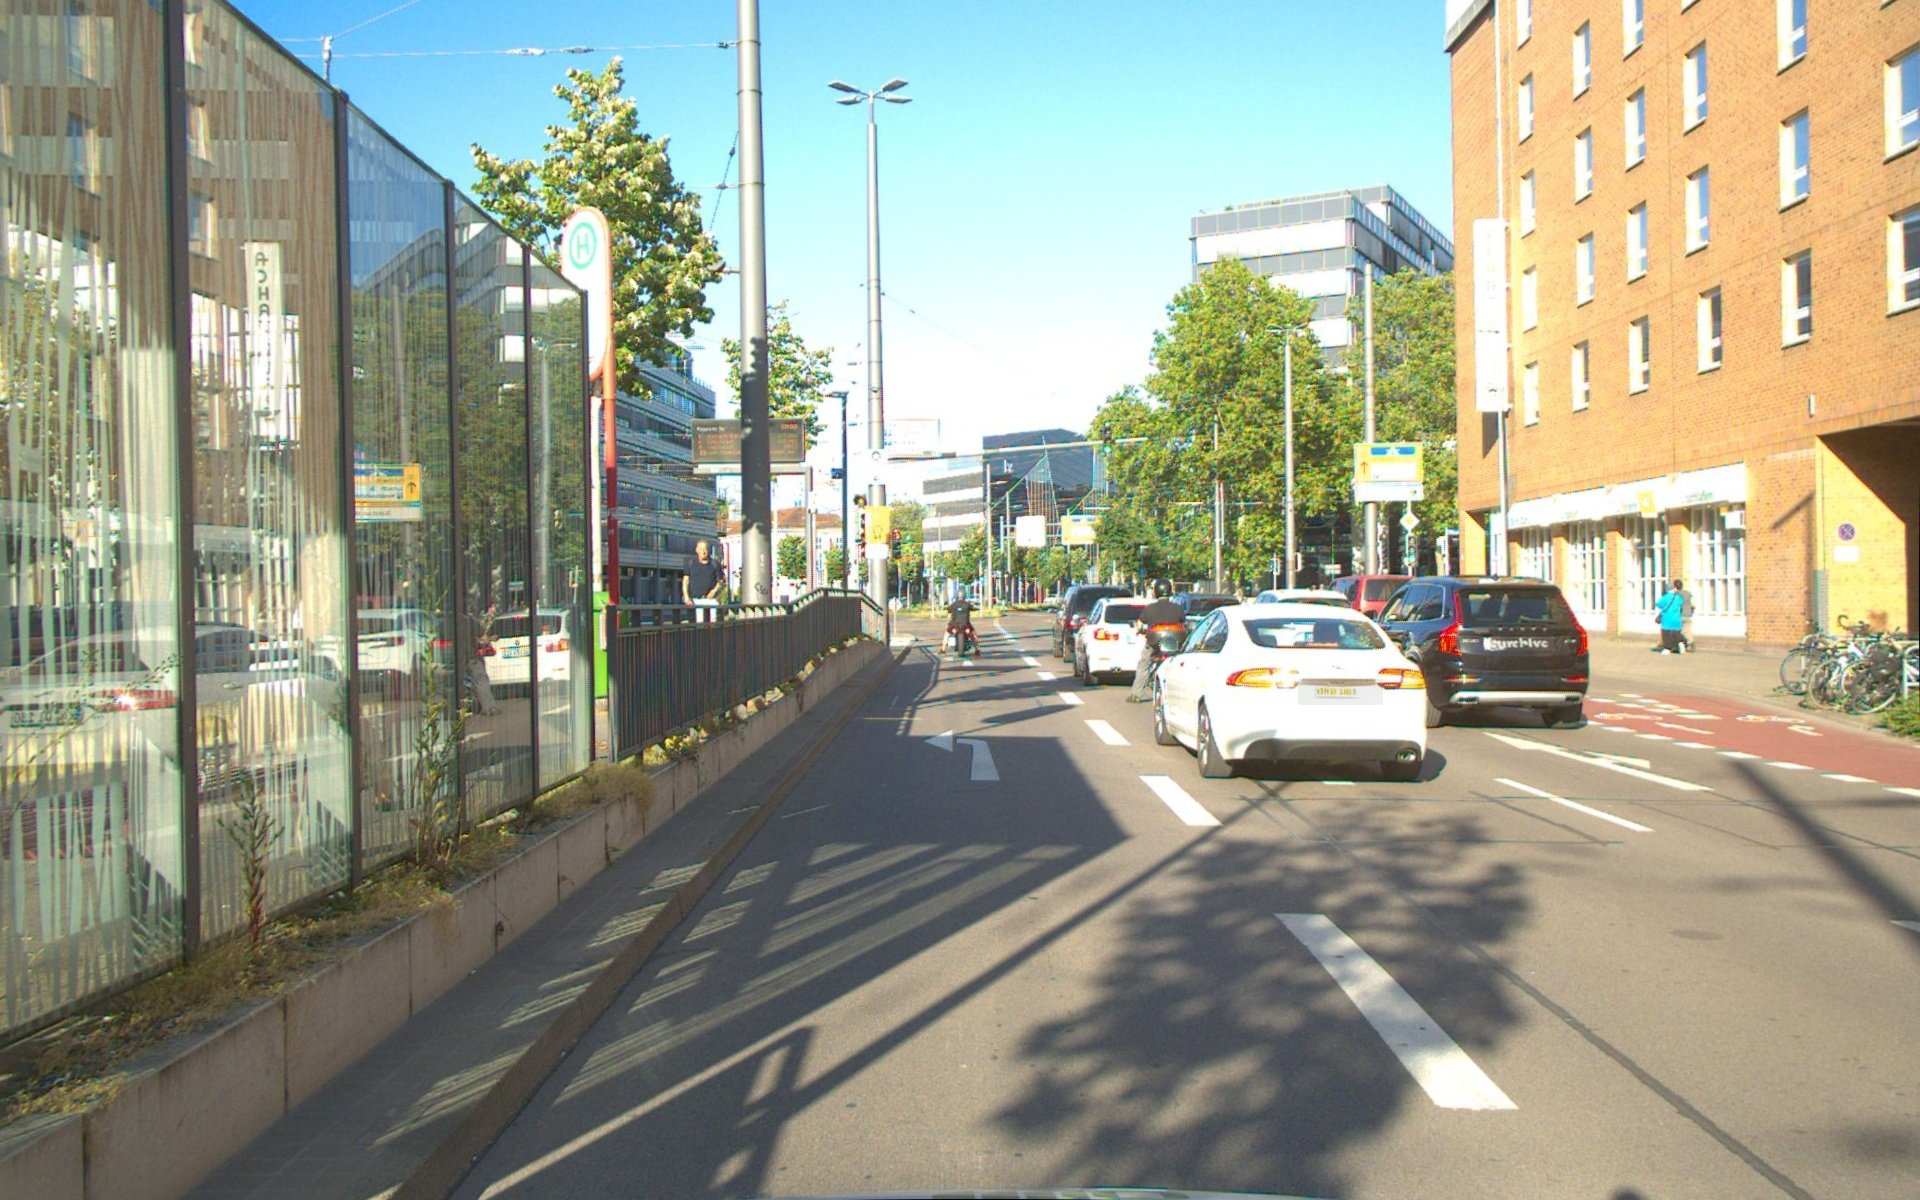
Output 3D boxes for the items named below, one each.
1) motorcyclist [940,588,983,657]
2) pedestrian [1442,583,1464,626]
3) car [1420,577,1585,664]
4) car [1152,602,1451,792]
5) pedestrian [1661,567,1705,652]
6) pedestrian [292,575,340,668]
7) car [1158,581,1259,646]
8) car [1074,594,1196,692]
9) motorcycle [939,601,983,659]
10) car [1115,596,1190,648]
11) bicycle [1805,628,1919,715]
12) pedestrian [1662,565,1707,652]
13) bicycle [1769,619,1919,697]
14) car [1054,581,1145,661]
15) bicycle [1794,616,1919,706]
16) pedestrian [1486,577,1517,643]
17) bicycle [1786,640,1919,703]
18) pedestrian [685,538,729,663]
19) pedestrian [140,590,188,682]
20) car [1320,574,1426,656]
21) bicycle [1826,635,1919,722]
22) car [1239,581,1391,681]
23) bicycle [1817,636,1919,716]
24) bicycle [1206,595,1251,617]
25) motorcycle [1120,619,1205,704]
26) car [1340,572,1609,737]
[{"bbox_3d":[0.029,0.546,40.230,0.998,1.631,1.148,1,0,0],"label":"motorcyclist"},{"bbox_3d":[19.504,0.188,65.415,0.683,1.690,0.519,1,0,0],"label":"pedestrian"},{"bbox_3d":[10.776,0.376,33.219,1.809,1.588,4.632,1,0,0],"label":"car"},{"bbox_3d":[2.934,0.756,15.255,1.744,1.439,4.818,1,0,0],"label":"car"},{"bbox_3d":[15.917,0.214,36.416,0.594,1.853,0.748,-1,-1,-1],"label":"pedestrian"},{"bbox_3d":[-13.059,0.431,33.555,0.601,1.849,0.897,0,0,0],"label":"pedestrian"},{"bbox_3d":[6.060,0.305,40.762,1.813,1.524,4.379,0,0,0],"label":"car"},{"bbox_3d":[2.944,0.685,28.604,1.658,1.523,4.409,1,0,0],"label":"car"},{"bbox_3d":[0.032,0.693,40.176,0.998,1.335,2.914,1,0,0],"label":"motorcycle"},{"bbox_3d":[5.904,0.652,51.127,1.813,1.524,4.379,0,0,0],"label":"car"},{"bbox_3d":[12.272,0.927,21.795,1.903,1.094,0.555,-2,-1,11],"label":"bicycle"},{"bbox_3d":[15.640,0.182,35.715,0.594,1.853,0.748,-1,-1,-1],"label":"pedestrian"},{"bbox_3d":[13.217,0.867,24.700,1.903,1.093,0.626,-2,-1,12],"label":"bicycle"},{"bbox_3d":[3.141,0.451,37.890,1.761,1.735,4.063,0,0,0],"label":"car"},{"bbox_3d":[12.373,0.820,22.317,1.903,1.157,0.491,-2,-1,11],"label":"bicycle"},{"bbox_3d":[15.433,0.276,47.168,0.594,1.853,0.748,-1,-1,-1],"label":"pedestrian"},{"bbox_3d":[12.707,1.012,23.279,1.907,0.850,0.554,-2,-1,27],"label":"bicycle"},{"bbox_3d":[-3.504,0.007,22.901,0.509,1.698,0.550,0,0,0],"label":"pedestrian"},{"bbox_3d":[-14.345,0.645,29.811,0.552,1.637,0.616,0,0,0],"label":"pedestrian"},{"bbox_3d":[10.634,0.360,42.843,1.822,1.995,4.001,-1,0,1],"label":"car"},{"bbox_3d":[11.898,0.966,20.570,1.904,1.040,0.502,-2,-1,17],"label":"bicycle"},{"bbox_3d":[6.332,0.516,29.941,1.813,1.668,4.379,0,0,0],"label":"car"},{"bbox_3d":[12.057,0.962,21.086,1.904,0.986,0.554,-2,-1,17],"label":"bicycle"},{"bbox_3d":[16.191,0.355,99.637,2.636,1.266,0.528,-1,0,23],"label":"bicycle"},{"bbox_3d":[2.818,0.834,23.292,0.820,1.081,2.552,-1,0,-1],"label":"motorcycle"},{"bbox_3d":[6.245,0.604,20.683,1.934,1.790,4.632,1,0,0],"label":"car"}]
